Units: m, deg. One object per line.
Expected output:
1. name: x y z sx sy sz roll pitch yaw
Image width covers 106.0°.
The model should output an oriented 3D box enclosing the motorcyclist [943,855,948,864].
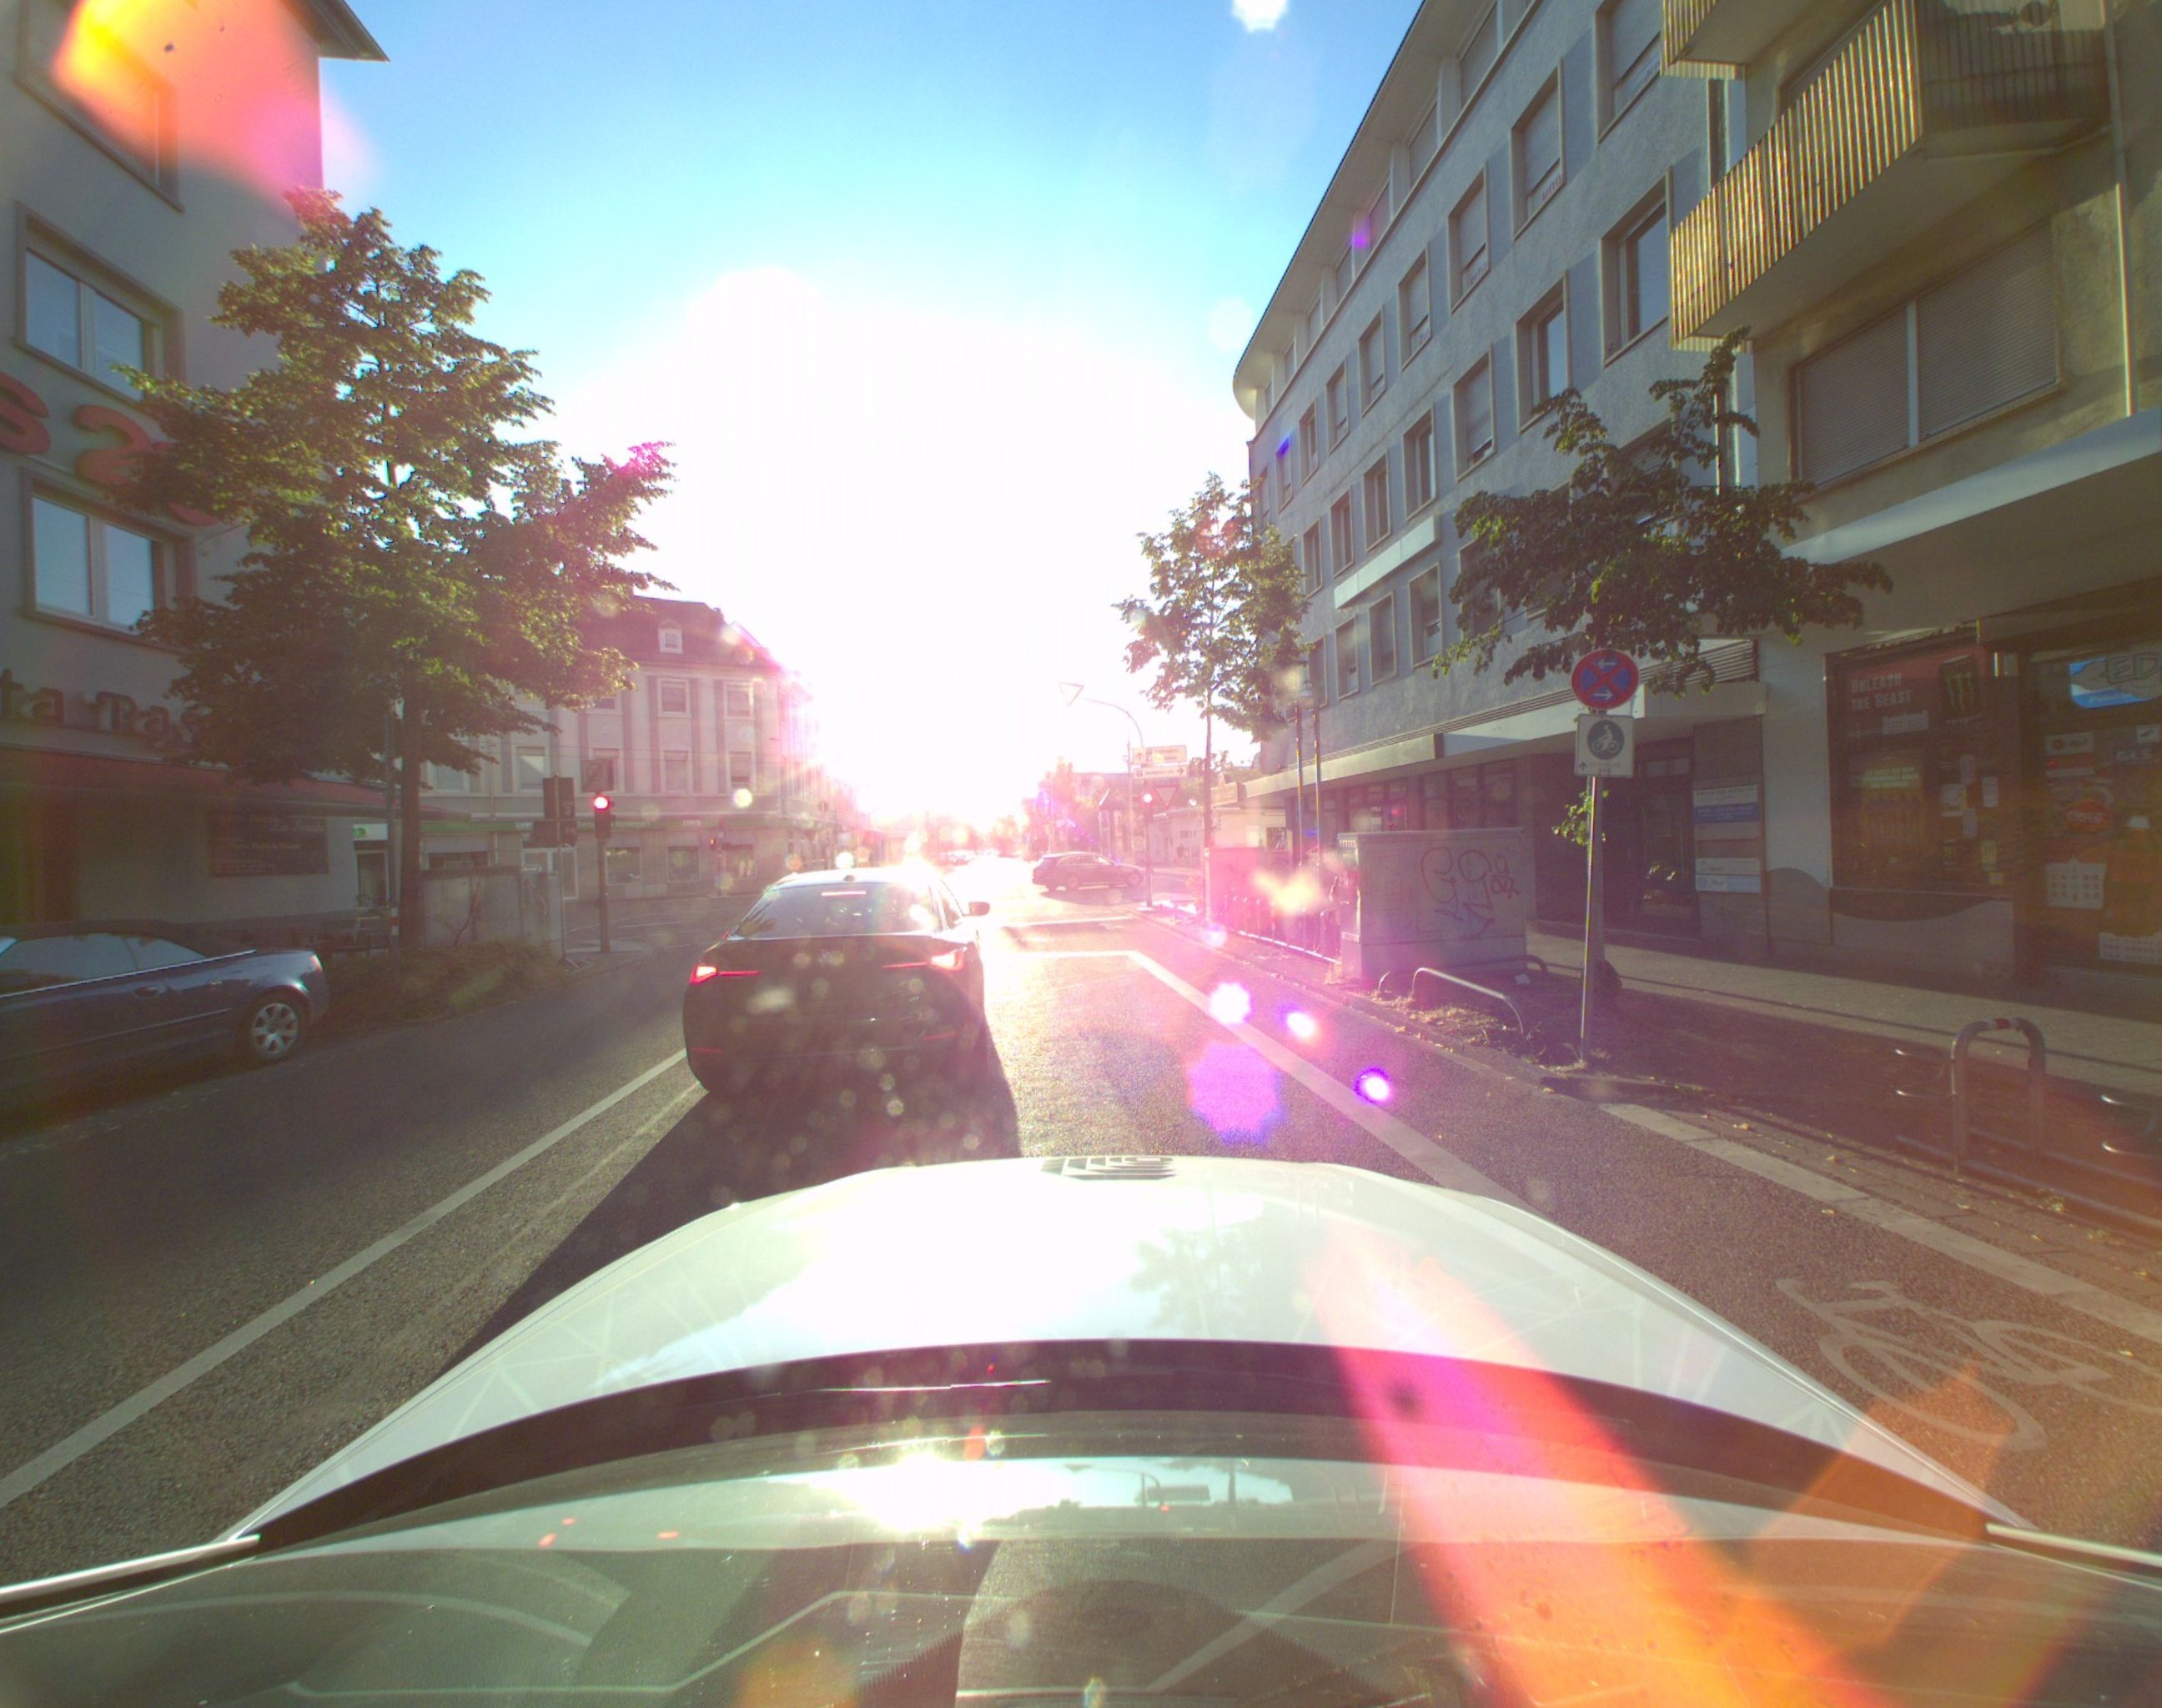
1. motorcyclist: -15.688 0.614 94.208 0.574 0.995 0.701 0 0 -6

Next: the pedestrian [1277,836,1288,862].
1. pedestrian: 13.905 -0.342 56.109 0.481 1.734 0.526 0 0 -31

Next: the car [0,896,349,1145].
1. car: -7.635 1.158 5.536 1.721 1.415 4.270 -4 0 -7

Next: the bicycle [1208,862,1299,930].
1. bicycle: 3.217 0.775 15.196 1.610 1.171 0.318 -2 0 -5

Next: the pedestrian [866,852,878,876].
1. pedestrian: -16.407 0.770 63.938 0.670 1.876 0.621 -1 0 45

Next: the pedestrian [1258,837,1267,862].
1. pedestrian: 12.664 -0.332 56.807 0.445 1.734 0.429 0 0 -31

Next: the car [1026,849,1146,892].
1. car: 0.217 0.595 32.135 4.436 1.473 1.799 -2 1 -32

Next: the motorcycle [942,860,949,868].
1. motorcycle: -15.688 1.146 94.307 0.574 0.915 2.196 0 0 -6

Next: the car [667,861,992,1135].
1. car: -1.641 0.800 6.643 1.735 1.428 4.213 -1 0 -7

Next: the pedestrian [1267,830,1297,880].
1. pedestrian: 7.563 0.043 30.644 0.827 1.841 0.683 -2 0 33

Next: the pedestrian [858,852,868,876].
1. pedestrian: -16.963 0.775 63.306 0.642 1.876 0.630 0 0 -7

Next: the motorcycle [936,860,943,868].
1. motorcycle: -16.472 1.152 94.720 0.574 0.915 2.196 0 0 -6

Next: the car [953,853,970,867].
1. car: -13.936 0.705 95.184 1.816 1.519 3.992 -2 0 -6

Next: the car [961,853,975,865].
1. car: -15.703 0.699 113.485 1.816 1.519 3.992 -2 0 -6

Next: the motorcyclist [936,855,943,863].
1. motorcyclist: -16.478 0.621 94.744 0.574 0.915 2.196 0 0 -6

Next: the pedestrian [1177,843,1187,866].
1. pedestrian: 6.711 0.022 54.161 0.470 1.529 0.734 0 0 -5

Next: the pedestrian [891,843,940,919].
1. pedestrian: -4.255 0.670 20.954 1.006 1.860 0.634 -3 1 -27

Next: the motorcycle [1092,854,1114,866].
1. motorcycle: 1.828 0.462 68.000 1.673 0.939 0.851 -2 0 -18

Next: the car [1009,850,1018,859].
1. car: -13.739 0.073 166.185 1.769 1.848 3.993 -2 0 -5

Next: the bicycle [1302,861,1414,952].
1. bicycle: 3.852 0.719 11.343 1.438 1.220 0.383 0 0 -5

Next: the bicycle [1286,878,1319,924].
1. bicycle: 4.177 0.875 15.392 0.249 0.796 1.114 0 0 -4

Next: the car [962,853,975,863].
1. car: -18.040 0.627 130.961 1.816 1.519 3.992 -2 0 -6
